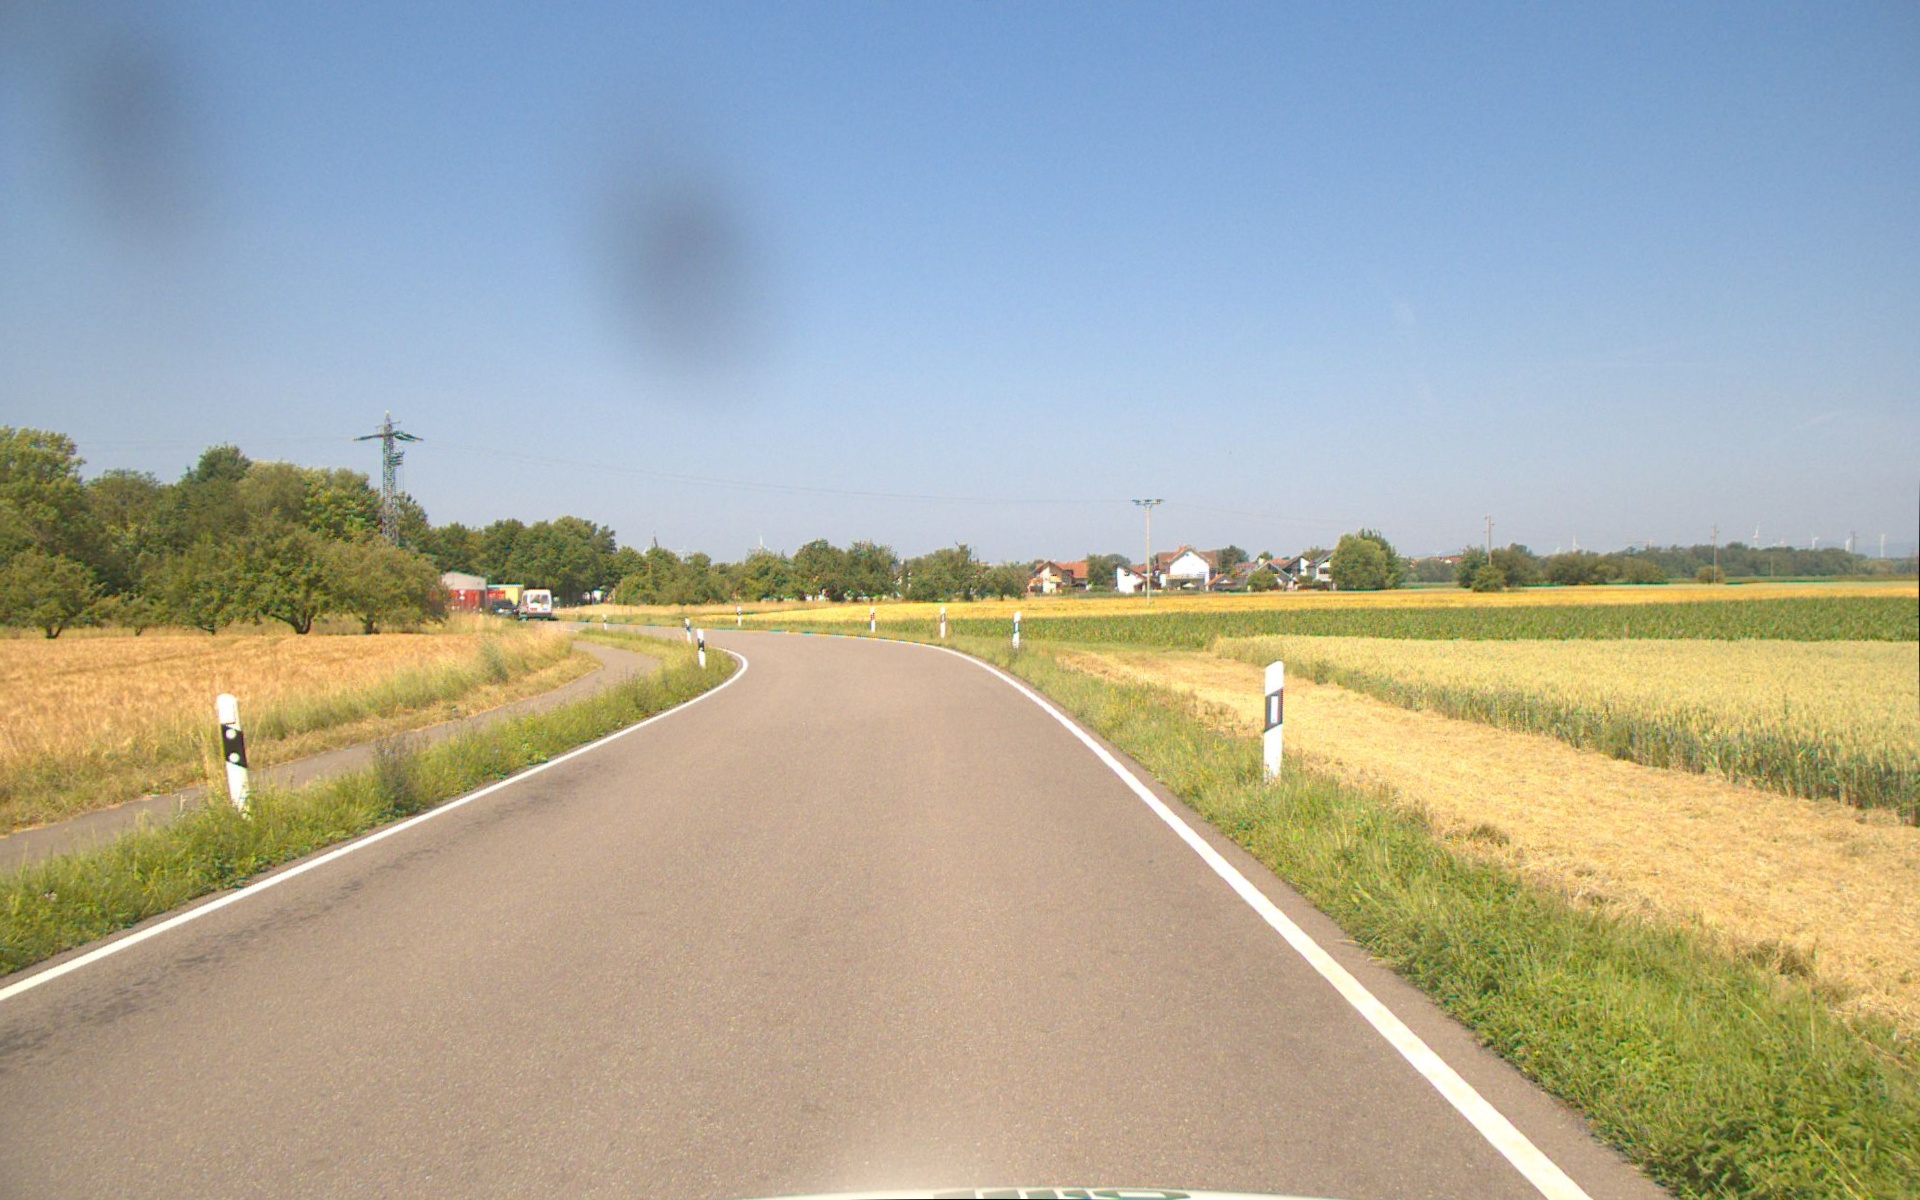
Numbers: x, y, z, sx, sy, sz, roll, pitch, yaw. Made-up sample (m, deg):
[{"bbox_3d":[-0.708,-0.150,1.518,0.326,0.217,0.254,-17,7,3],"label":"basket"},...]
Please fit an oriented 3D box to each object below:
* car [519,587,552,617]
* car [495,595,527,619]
[{"bbox_3d":[-34.668,0.145,134.992,1.966,2.305,4.695,-1,0,-22],"label":"car"},{"bbox_3d":[-35.056,0.537,128.983,1.861,1.744,3.986,-3,1,-23],"label":"car"}]
